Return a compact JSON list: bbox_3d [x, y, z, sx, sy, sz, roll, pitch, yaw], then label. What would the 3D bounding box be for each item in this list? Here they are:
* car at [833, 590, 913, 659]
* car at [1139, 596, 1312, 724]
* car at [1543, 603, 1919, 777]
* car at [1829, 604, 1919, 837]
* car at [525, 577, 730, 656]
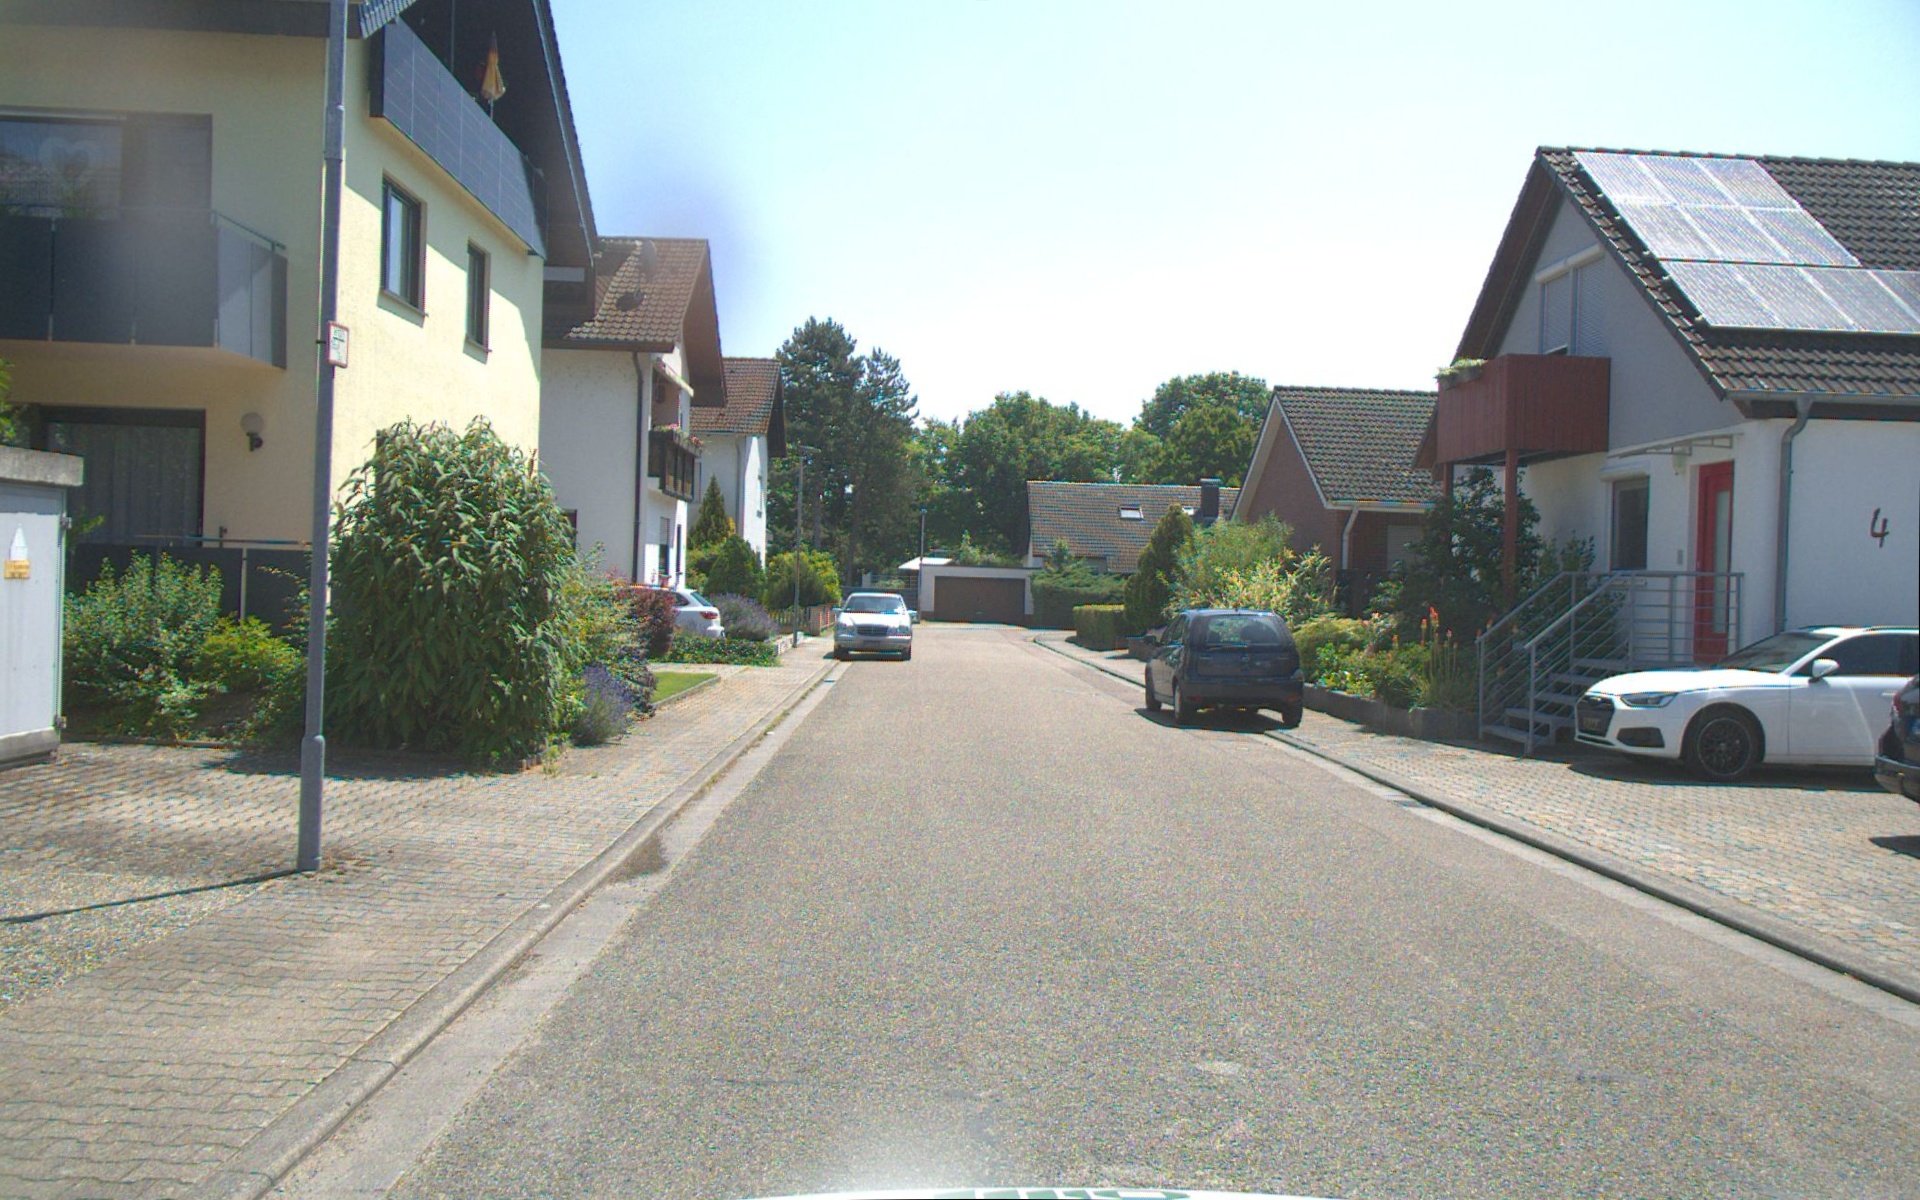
[{"bbox_3d":[-1.949,0.516,38.085,1.665,1.417,4.336,2,1,-1],"label":"car"},{"bbox_3d":[3.442,0.730,22.034,1.617,1.465,3.651,2,1,-1],"label":"car"},{"bbox_3d":[8.108,0.830,15.666,4.444,1.420,1.952,2,1,0],"label":"car"},{"bbox_3d":[8.414,0.865,11.050,4.155,1.512,1.999,2,1,-2],"label":"car"},{"bbox_3d":[-6.746,0.322,33.910,3.911,1.445,1.843,2,0,-7],"label":"car"}]
